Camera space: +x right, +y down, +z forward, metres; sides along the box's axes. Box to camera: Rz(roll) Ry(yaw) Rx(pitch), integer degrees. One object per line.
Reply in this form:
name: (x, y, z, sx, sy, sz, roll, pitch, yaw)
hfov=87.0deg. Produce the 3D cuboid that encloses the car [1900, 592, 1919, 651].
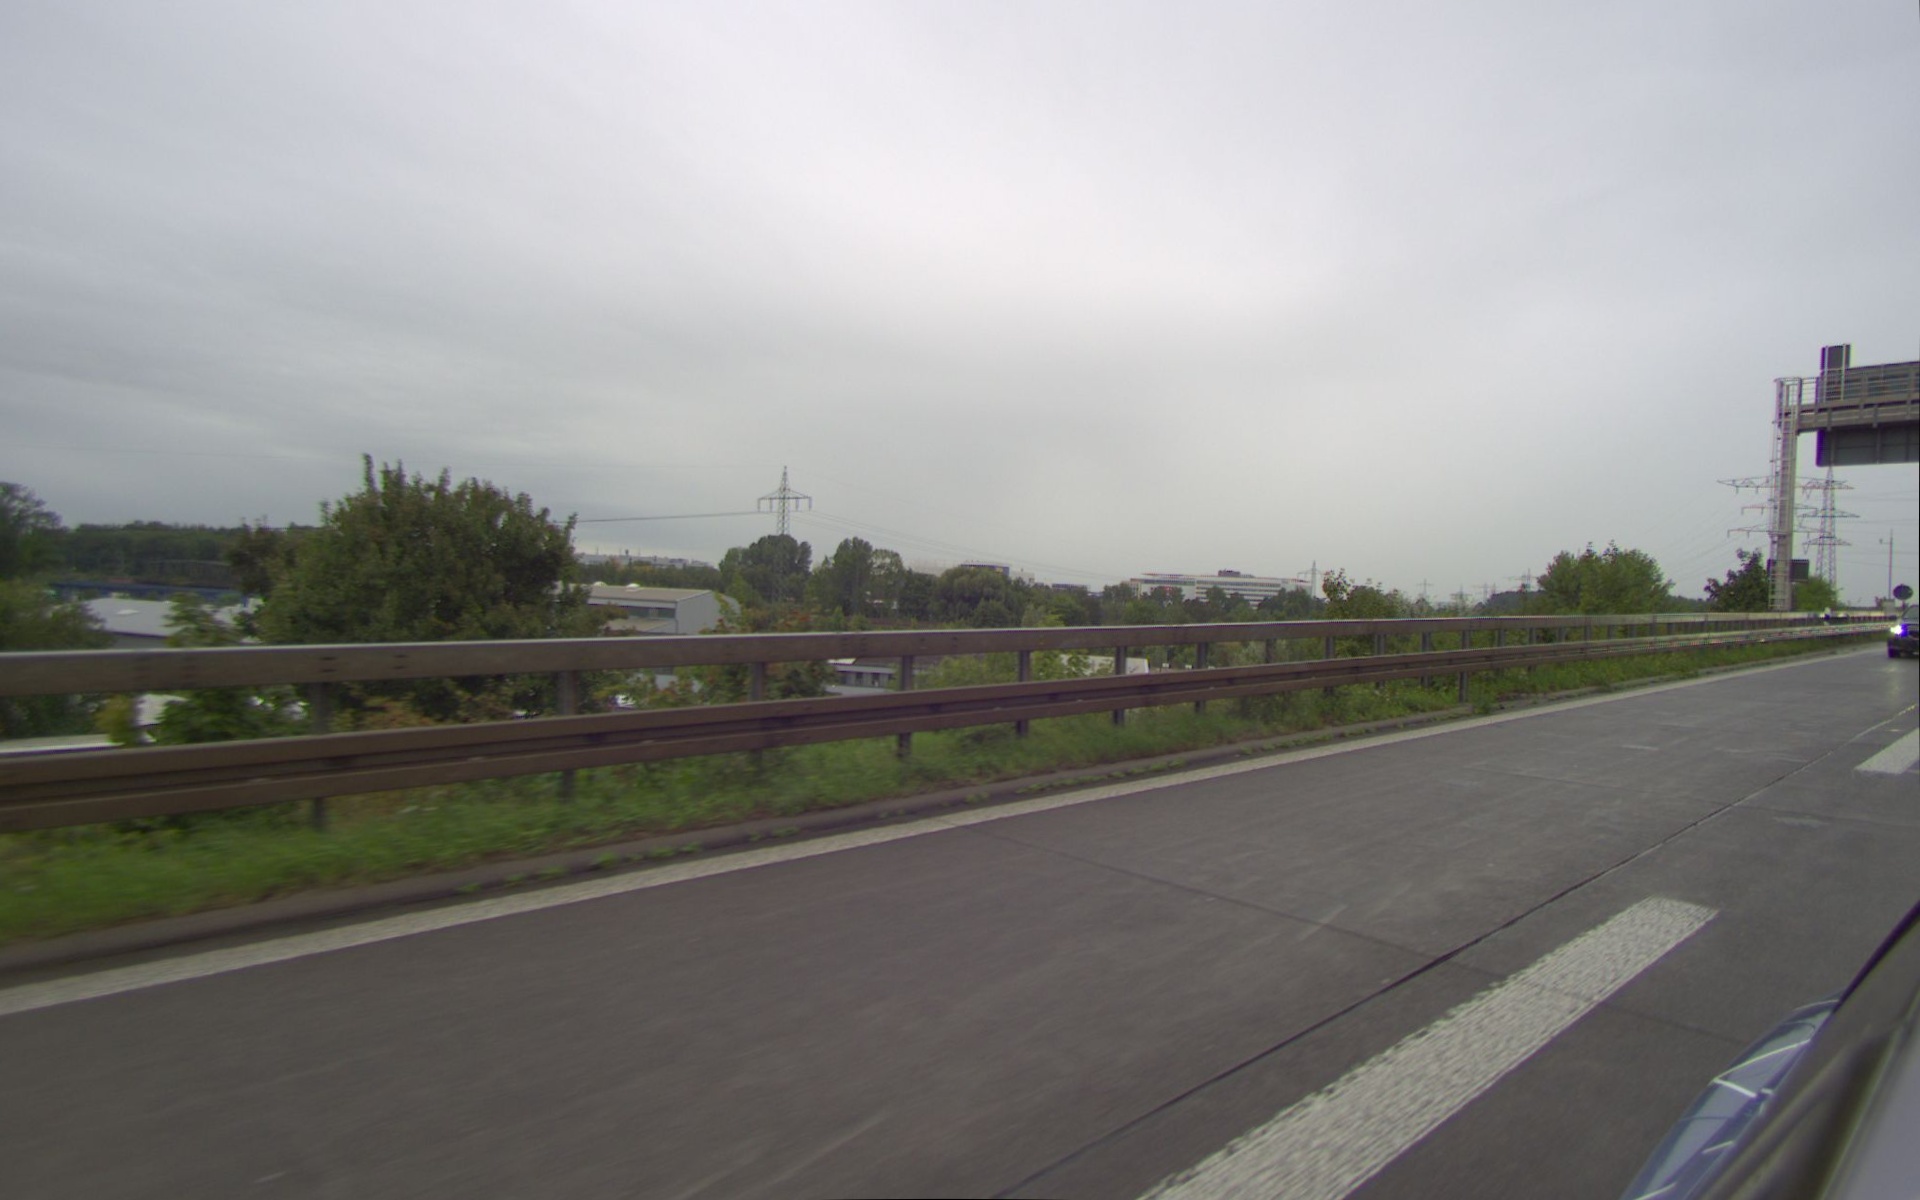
car: (27.160, 0.603, 27.617, 4.131, 1.560, 1.860, 1, -1, -42)
